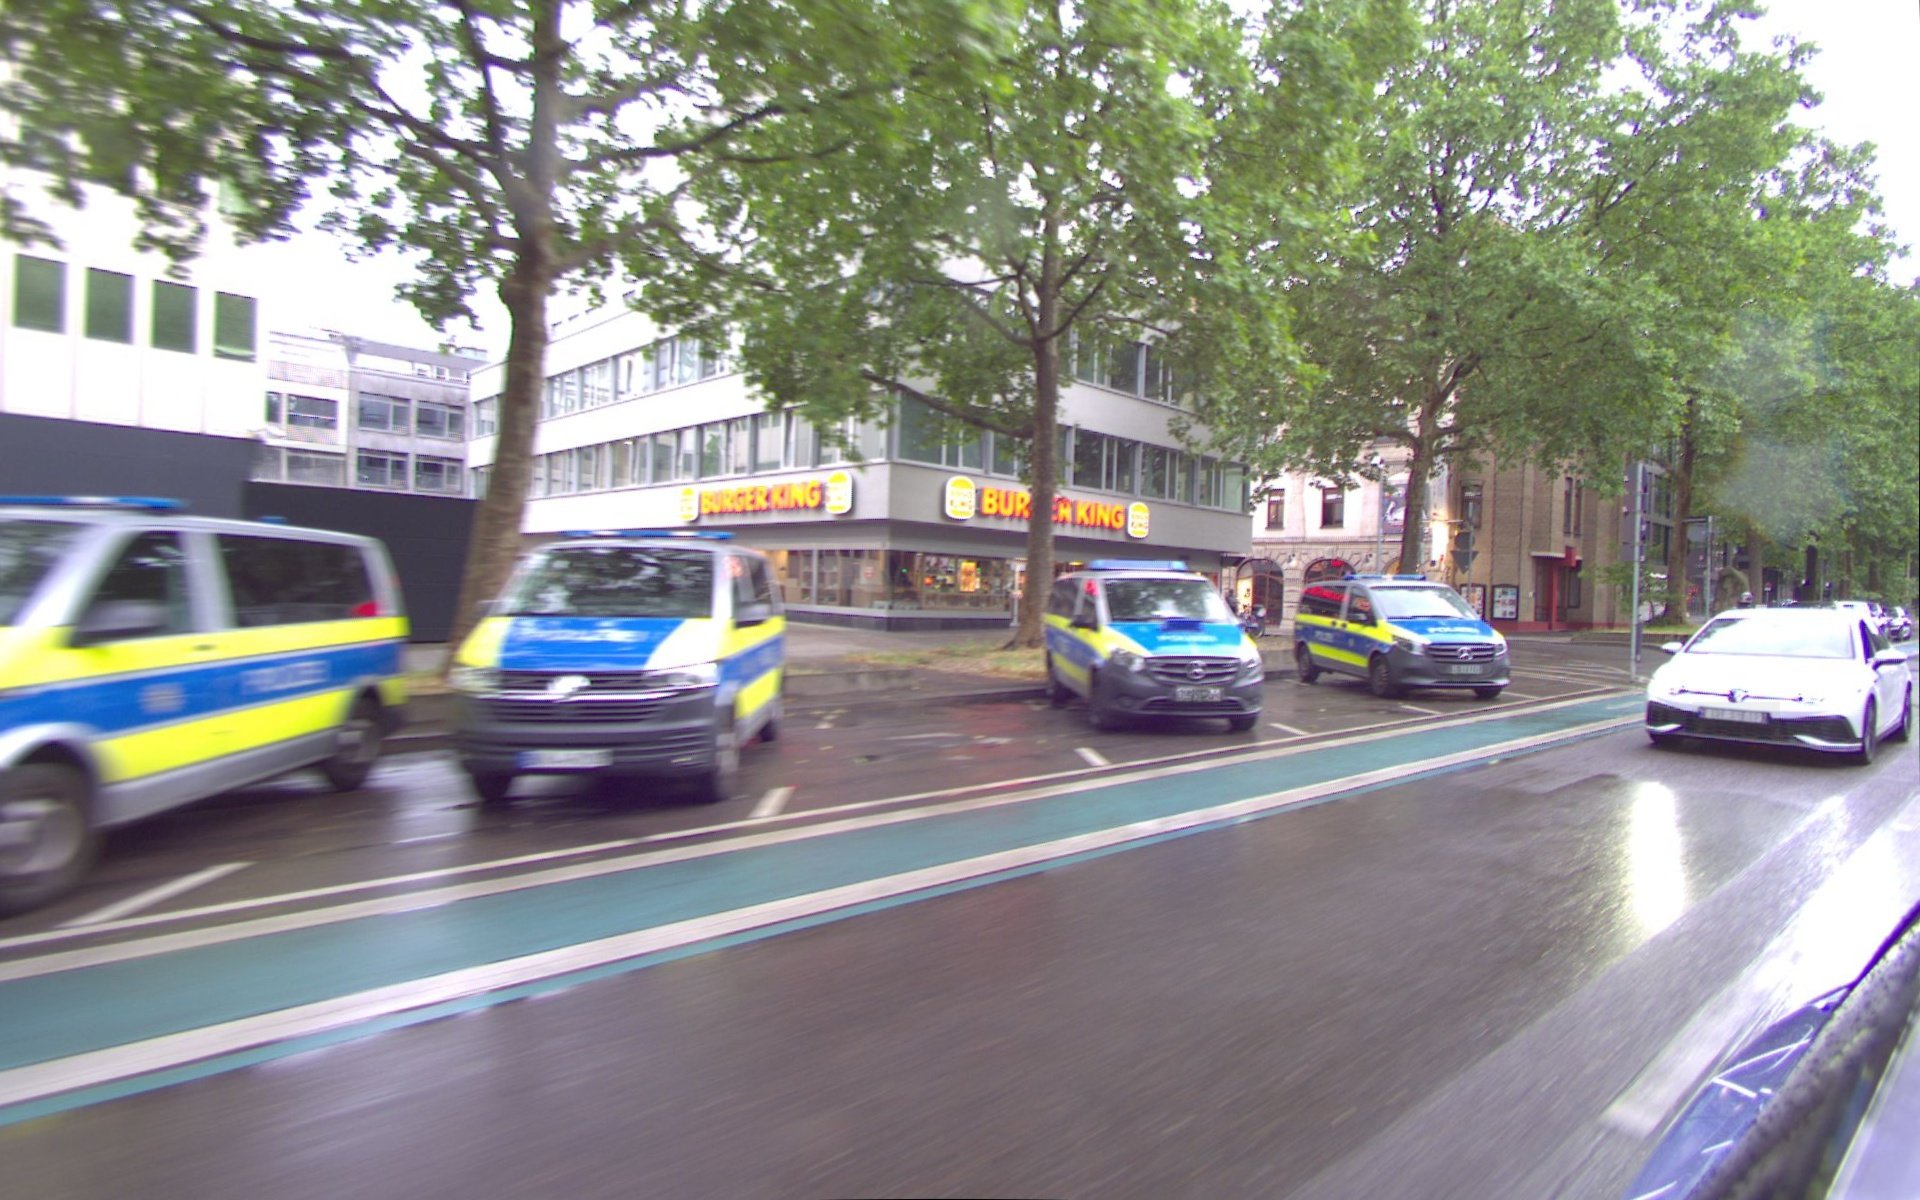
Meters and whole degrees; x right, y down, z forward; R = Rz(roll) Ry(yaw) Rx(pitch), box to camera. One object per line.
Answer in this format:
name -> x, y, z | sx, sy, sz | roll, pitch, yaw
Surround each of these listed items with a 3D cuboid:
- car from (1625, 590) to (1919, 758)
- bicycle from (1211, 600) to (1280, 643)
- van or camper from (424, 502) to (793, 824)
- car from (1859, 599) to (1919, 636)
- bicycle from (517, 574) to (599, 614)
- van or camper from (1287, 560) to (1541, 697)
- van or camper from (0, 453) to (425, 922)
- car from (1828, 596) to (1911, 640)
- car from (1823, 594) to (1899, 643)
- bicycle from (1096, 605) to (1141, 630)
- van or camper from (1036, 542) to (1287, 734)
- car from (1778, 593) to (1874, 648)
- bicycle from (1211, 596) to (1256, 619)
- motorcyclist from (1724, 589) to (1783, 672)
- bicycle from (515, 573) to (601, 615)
car -> 9.121, 0.647, 10.944 | 4.425, 1.463, 1.867 | 0, 0, -37
bicycle -> 8.776, 0.677, 31.115 | 1.876, 0.923, 0.651 | 7, 34, -34
van or camper -> -2.621, 0.371, 8.839 | 1.831, 2.023, 4.859 | 0, 1, -4
car -> 39.207, 0.707, 42.387 | 4.505, 1.451, 1.746 | 0, 0, -41
bicycle -> -12.360, -0.172, 31.173 | 2.249, 1.188, 0.687 | 0, 0, -44
van or camper -> 7.518, 0.407, 17.446 | 1.963, 2.017, 4.950 | 0, 0, -3
van or camper -> -5.284, 0.354, 6.046 | 1.960, 2.036, 4.799 | 0, 1, -4
car -> 34.889, 0.646, 38.795 | 4.483, 1.609, 1.996 | 0, 0, -43
car -> 31.540, 0.609, 35.391 | 1.752, 1.605, 4.339 | 0, 0, 45
bicycle -> 5.506, 0.603, 35.157 | 0.640, 0.829, 1.885 | 1, 1, 40
van or camper -> 2.357, 0.406, 13.384 | 1.957, 2.045, 5.092 | 0, 0, -4
car -> 27.553, 0.611, 32.149 | 4.348, 1.623, 1.795 | 0, 0, -42
bicycle -> 12.084, 0.314, 44.691 | 0.613, 0.949, 1.972 | 1, 0, -36
motorcyclist -> 16.357, 0.601, 20.885 | 0.842, 1.665, 0.862 | 0, 0, 31
bicycle -> -11.747, -0.175, 29.636 | 2.247, 1.187, 0.687 | 0, 1, -41
